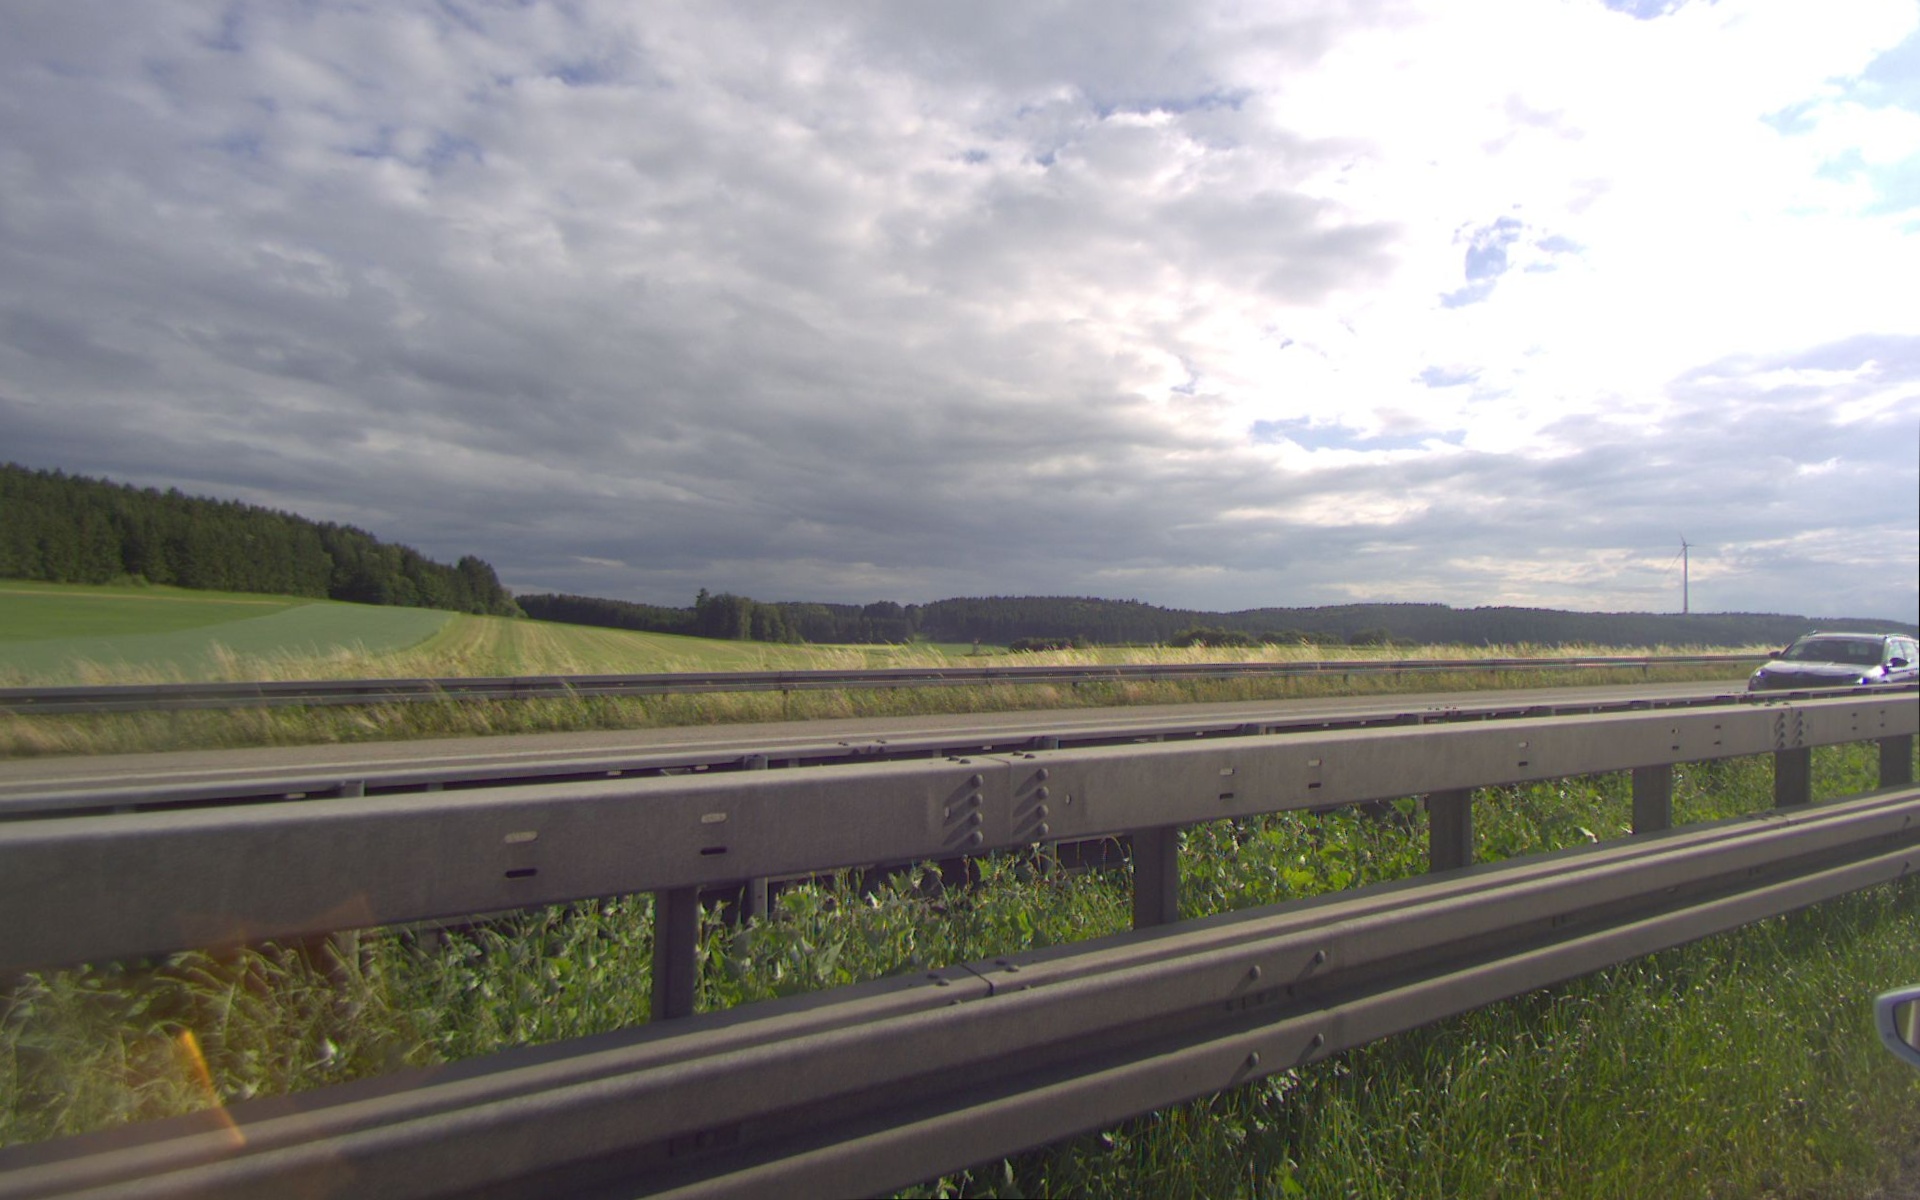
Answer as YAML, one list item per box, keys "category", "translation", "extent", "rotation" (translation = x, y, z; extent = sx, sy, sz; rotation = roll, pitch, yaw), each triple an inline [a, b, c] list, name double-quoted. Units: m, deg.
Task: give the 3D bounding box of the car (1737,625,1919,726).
- category: "car"
  translation: [16.013, 1.316, 18.293]
  extent: [4.019, 1.606, 1.607]
  rotation: [2, 0, -32]
